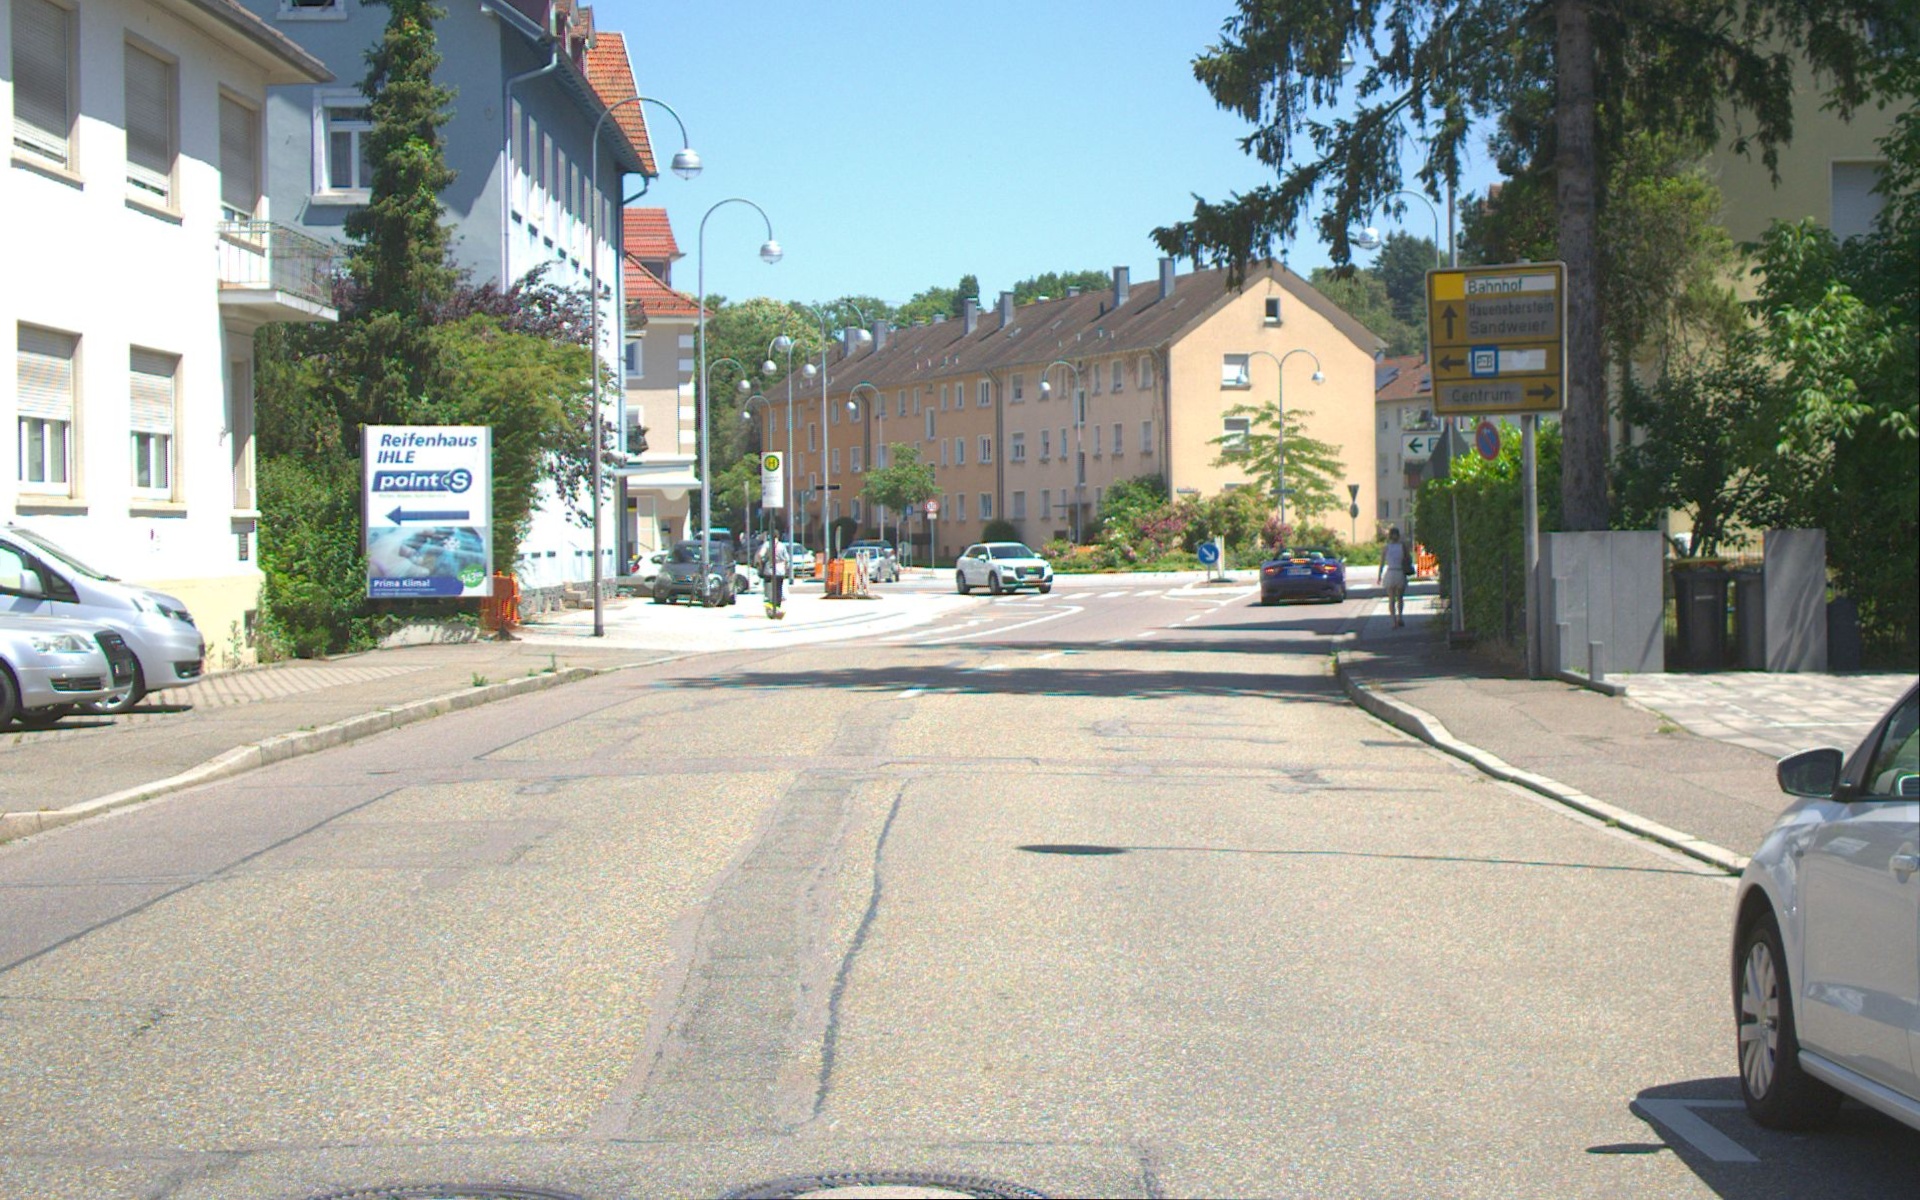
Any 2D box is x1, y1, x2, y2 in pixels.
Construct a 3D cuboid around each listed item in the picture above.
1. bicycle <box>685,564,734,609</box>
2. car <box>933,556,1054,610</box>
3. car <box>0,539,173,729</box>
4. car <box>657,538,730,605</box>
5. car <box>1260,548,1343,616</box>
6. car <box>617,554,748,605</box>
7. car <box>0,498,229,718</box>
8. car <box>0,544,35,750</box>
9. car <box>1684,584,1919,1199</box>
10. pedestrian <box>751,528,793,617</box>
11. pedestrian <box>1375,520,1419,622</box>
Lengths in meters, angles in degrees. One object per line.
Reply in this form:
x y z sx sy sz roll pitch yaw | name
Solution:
-5.637 -0.307 77.426 0.496 0.974 1.972 4 1 12 | bicycle
0.989 -0.493 102.821 1.820 1.525 3.950 0 -1 -31 | car
-9.101 0.329 28.782 4.471 1.490 1.976 -2 1 3 | car
-6.280 -0.655 81.376 1.577 1.529 3.775 0 -1 -2 | car
8.009 -0.391 80.702 1.871 1.525 4.505 0 -1 5 | car
-8.854 -0.656 109.823 4.114 1.545 1.787 1 0 -4 | car
-9.003 0.107 31.226 4.350 1.870 1.851 -2 1 -5 | car
-9.132 0.417 25.699 4.269 1.490 1.873 -2 1 33 | car
2.918 0.725 7.839 1.684 1.450 3.740 1 1 -1 | car
-3.960 -0.575 72.531 0.755 1.842 0.772 3 0 0 | pedestrian
7.132 -0.472 56.107 0.623 1.638 0.772 -1 0 4 | pedestrian
